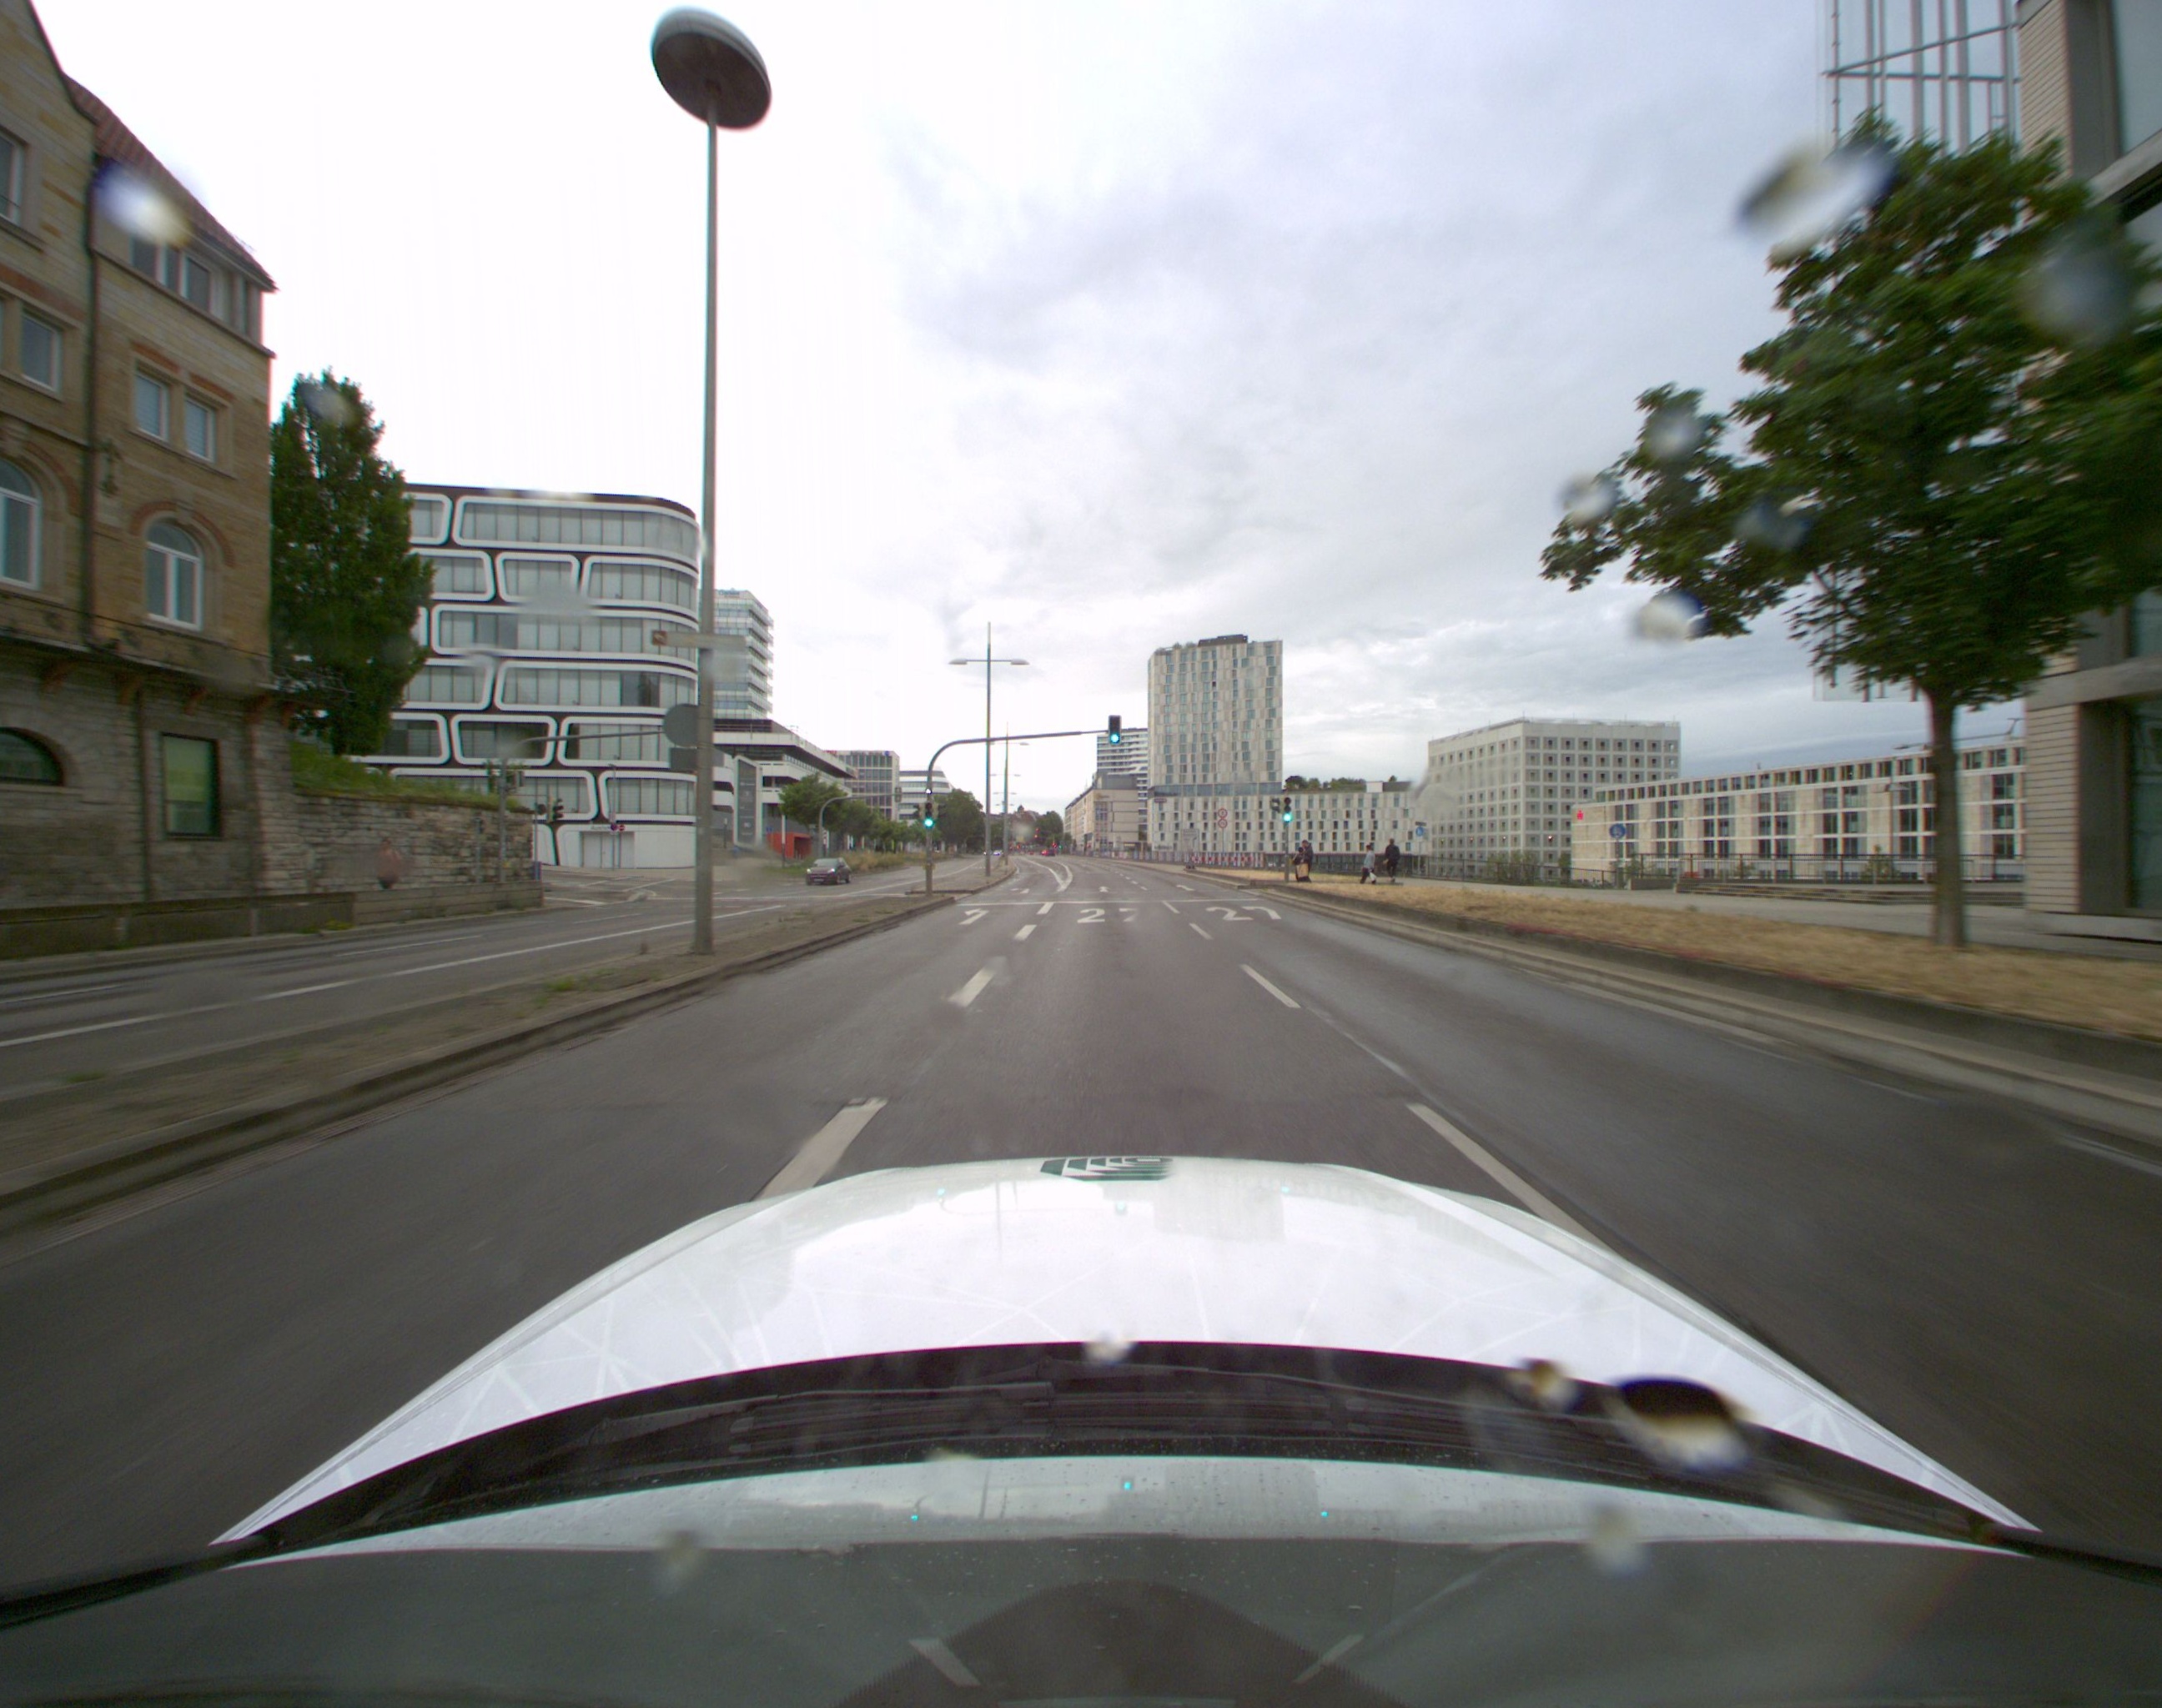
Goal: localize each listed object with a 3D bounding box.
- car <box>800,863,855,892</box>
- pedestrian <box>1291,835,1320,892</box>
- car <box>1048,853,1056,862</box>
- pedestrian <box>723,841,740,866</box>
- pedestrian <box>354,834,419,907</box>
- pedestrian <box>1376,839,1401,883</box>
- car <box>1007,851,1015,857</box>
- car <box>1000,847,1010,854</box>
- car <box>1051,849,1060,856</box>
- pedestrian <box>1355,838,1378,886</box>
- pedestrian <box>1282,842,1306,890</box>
[{"bbox_3d":[-13.778,1.247,44.459,1.742,1.407,3.725,-1,0,0],"label":"car"},{"bbox_3d":[7.379,0.305,26.754,0.787,1.841,0.544,-3,2,-43],"label":"pedestrian"},{"bbox_3d":[-7.243,0.915,204.477,1.987,2.343,4.000,0,0,0],"label":"car"},{"bbox_3d":[-28.041,-0.033,65.354,1.026,2.013,0.716,-2,1,0],"label":"pedestrian"},{"bbox_3d":[-18.521,0.430,21.729,0.872,1.867,1.068,-1,2,35],"label":"pedestrian"},{"bbox_3d":[11.457,0.252,30.311,0.662,1.577,0.673,0,2,39],"label":"pedestrian"},{"bbox_3d":[-22.297,0.080,260.527,1.987,1.782,4.001,-2,2,0],"label":"car"},{"bbox_3d":[-21.255,-1.005,227.280,1.984,1.815,4.005,-1,2,4],"label":"car"},{"bbox_3d":[-7.371,-0.461,233.318,1.984,1.815,4.005,-1,2,4],"label":"car"},{"bbox_3d":[9.734,0.269,27.794,0.544,1.577,0.675,-1,2,35],"label":"pedestrian"},{"bbox_3d":[7.231,0.408,27.678,0.544,1.577,0.675,-1,2,35],"label":"pedestrian"}]
